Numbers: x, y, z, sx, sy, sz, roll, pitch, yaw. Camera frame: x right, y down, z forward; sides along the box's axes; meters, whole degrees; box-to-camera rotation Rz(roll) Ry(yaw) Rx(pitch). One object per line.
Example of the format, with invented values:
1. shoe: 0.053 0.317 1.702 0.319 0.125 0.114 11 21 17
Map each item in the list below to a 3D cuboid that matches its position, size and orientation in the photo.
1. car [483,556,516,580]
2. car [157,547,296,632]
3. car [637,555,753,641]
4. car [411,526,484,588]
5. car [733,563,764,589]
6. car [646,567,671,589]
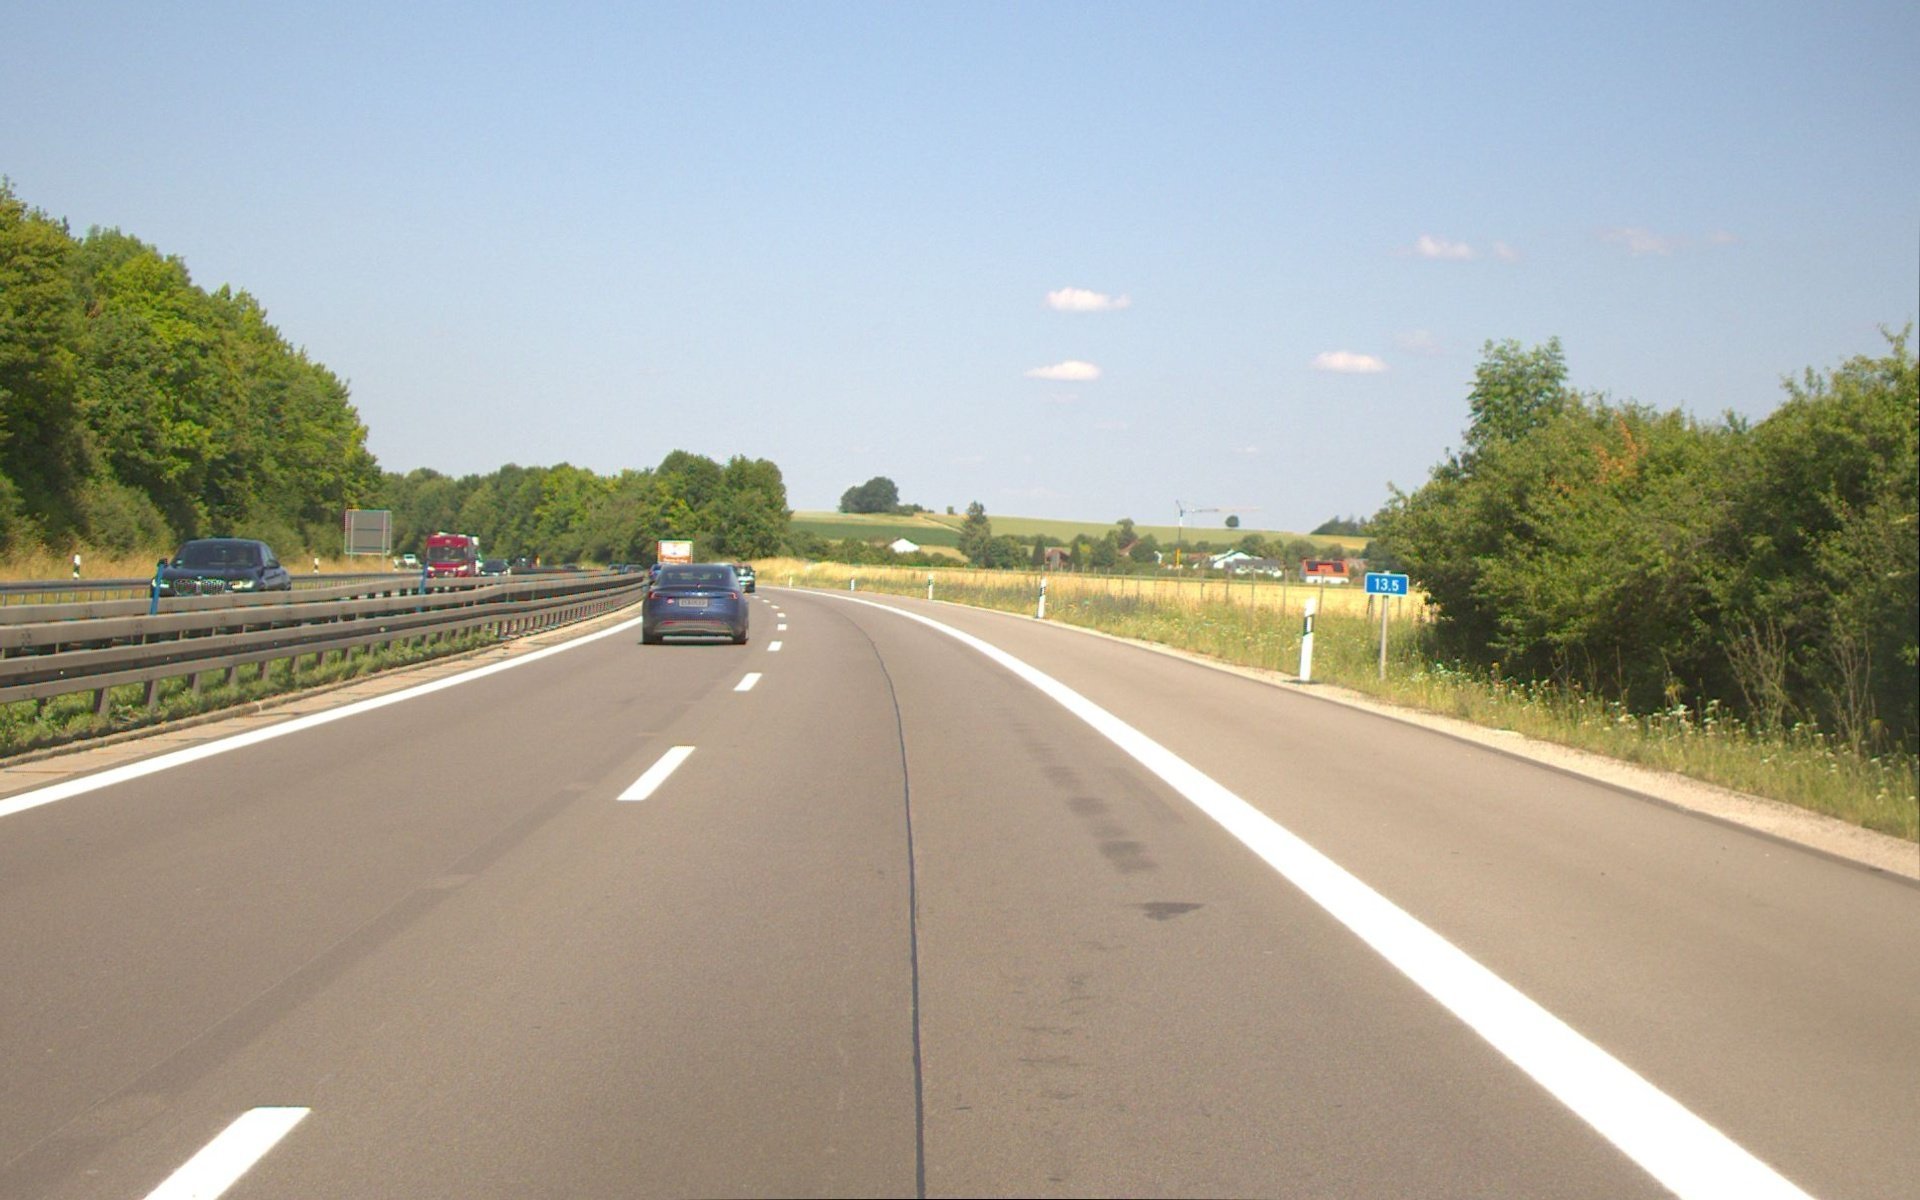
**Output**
1. car: -30.263 -2.116 225.791 1.810 1.550 4.850 2 1 -4
2. car: -12.837 -0.202 60.322 1.662 1.417 4.000 1 1 -2
3. car: -4.790 -0.076 62.791 1.847 1.428 5.866 1 1 -2
4. car: -22.758 -1.927 152.874 2.543 2.586 6.594 2 1 -3
5. car: -12.698 -1.445 206.662 1.675 1.448 3.593 1 1 -6
6. car: -20.843 -1.547 237.992 1.676 1.448 3.592 1 1 -5
